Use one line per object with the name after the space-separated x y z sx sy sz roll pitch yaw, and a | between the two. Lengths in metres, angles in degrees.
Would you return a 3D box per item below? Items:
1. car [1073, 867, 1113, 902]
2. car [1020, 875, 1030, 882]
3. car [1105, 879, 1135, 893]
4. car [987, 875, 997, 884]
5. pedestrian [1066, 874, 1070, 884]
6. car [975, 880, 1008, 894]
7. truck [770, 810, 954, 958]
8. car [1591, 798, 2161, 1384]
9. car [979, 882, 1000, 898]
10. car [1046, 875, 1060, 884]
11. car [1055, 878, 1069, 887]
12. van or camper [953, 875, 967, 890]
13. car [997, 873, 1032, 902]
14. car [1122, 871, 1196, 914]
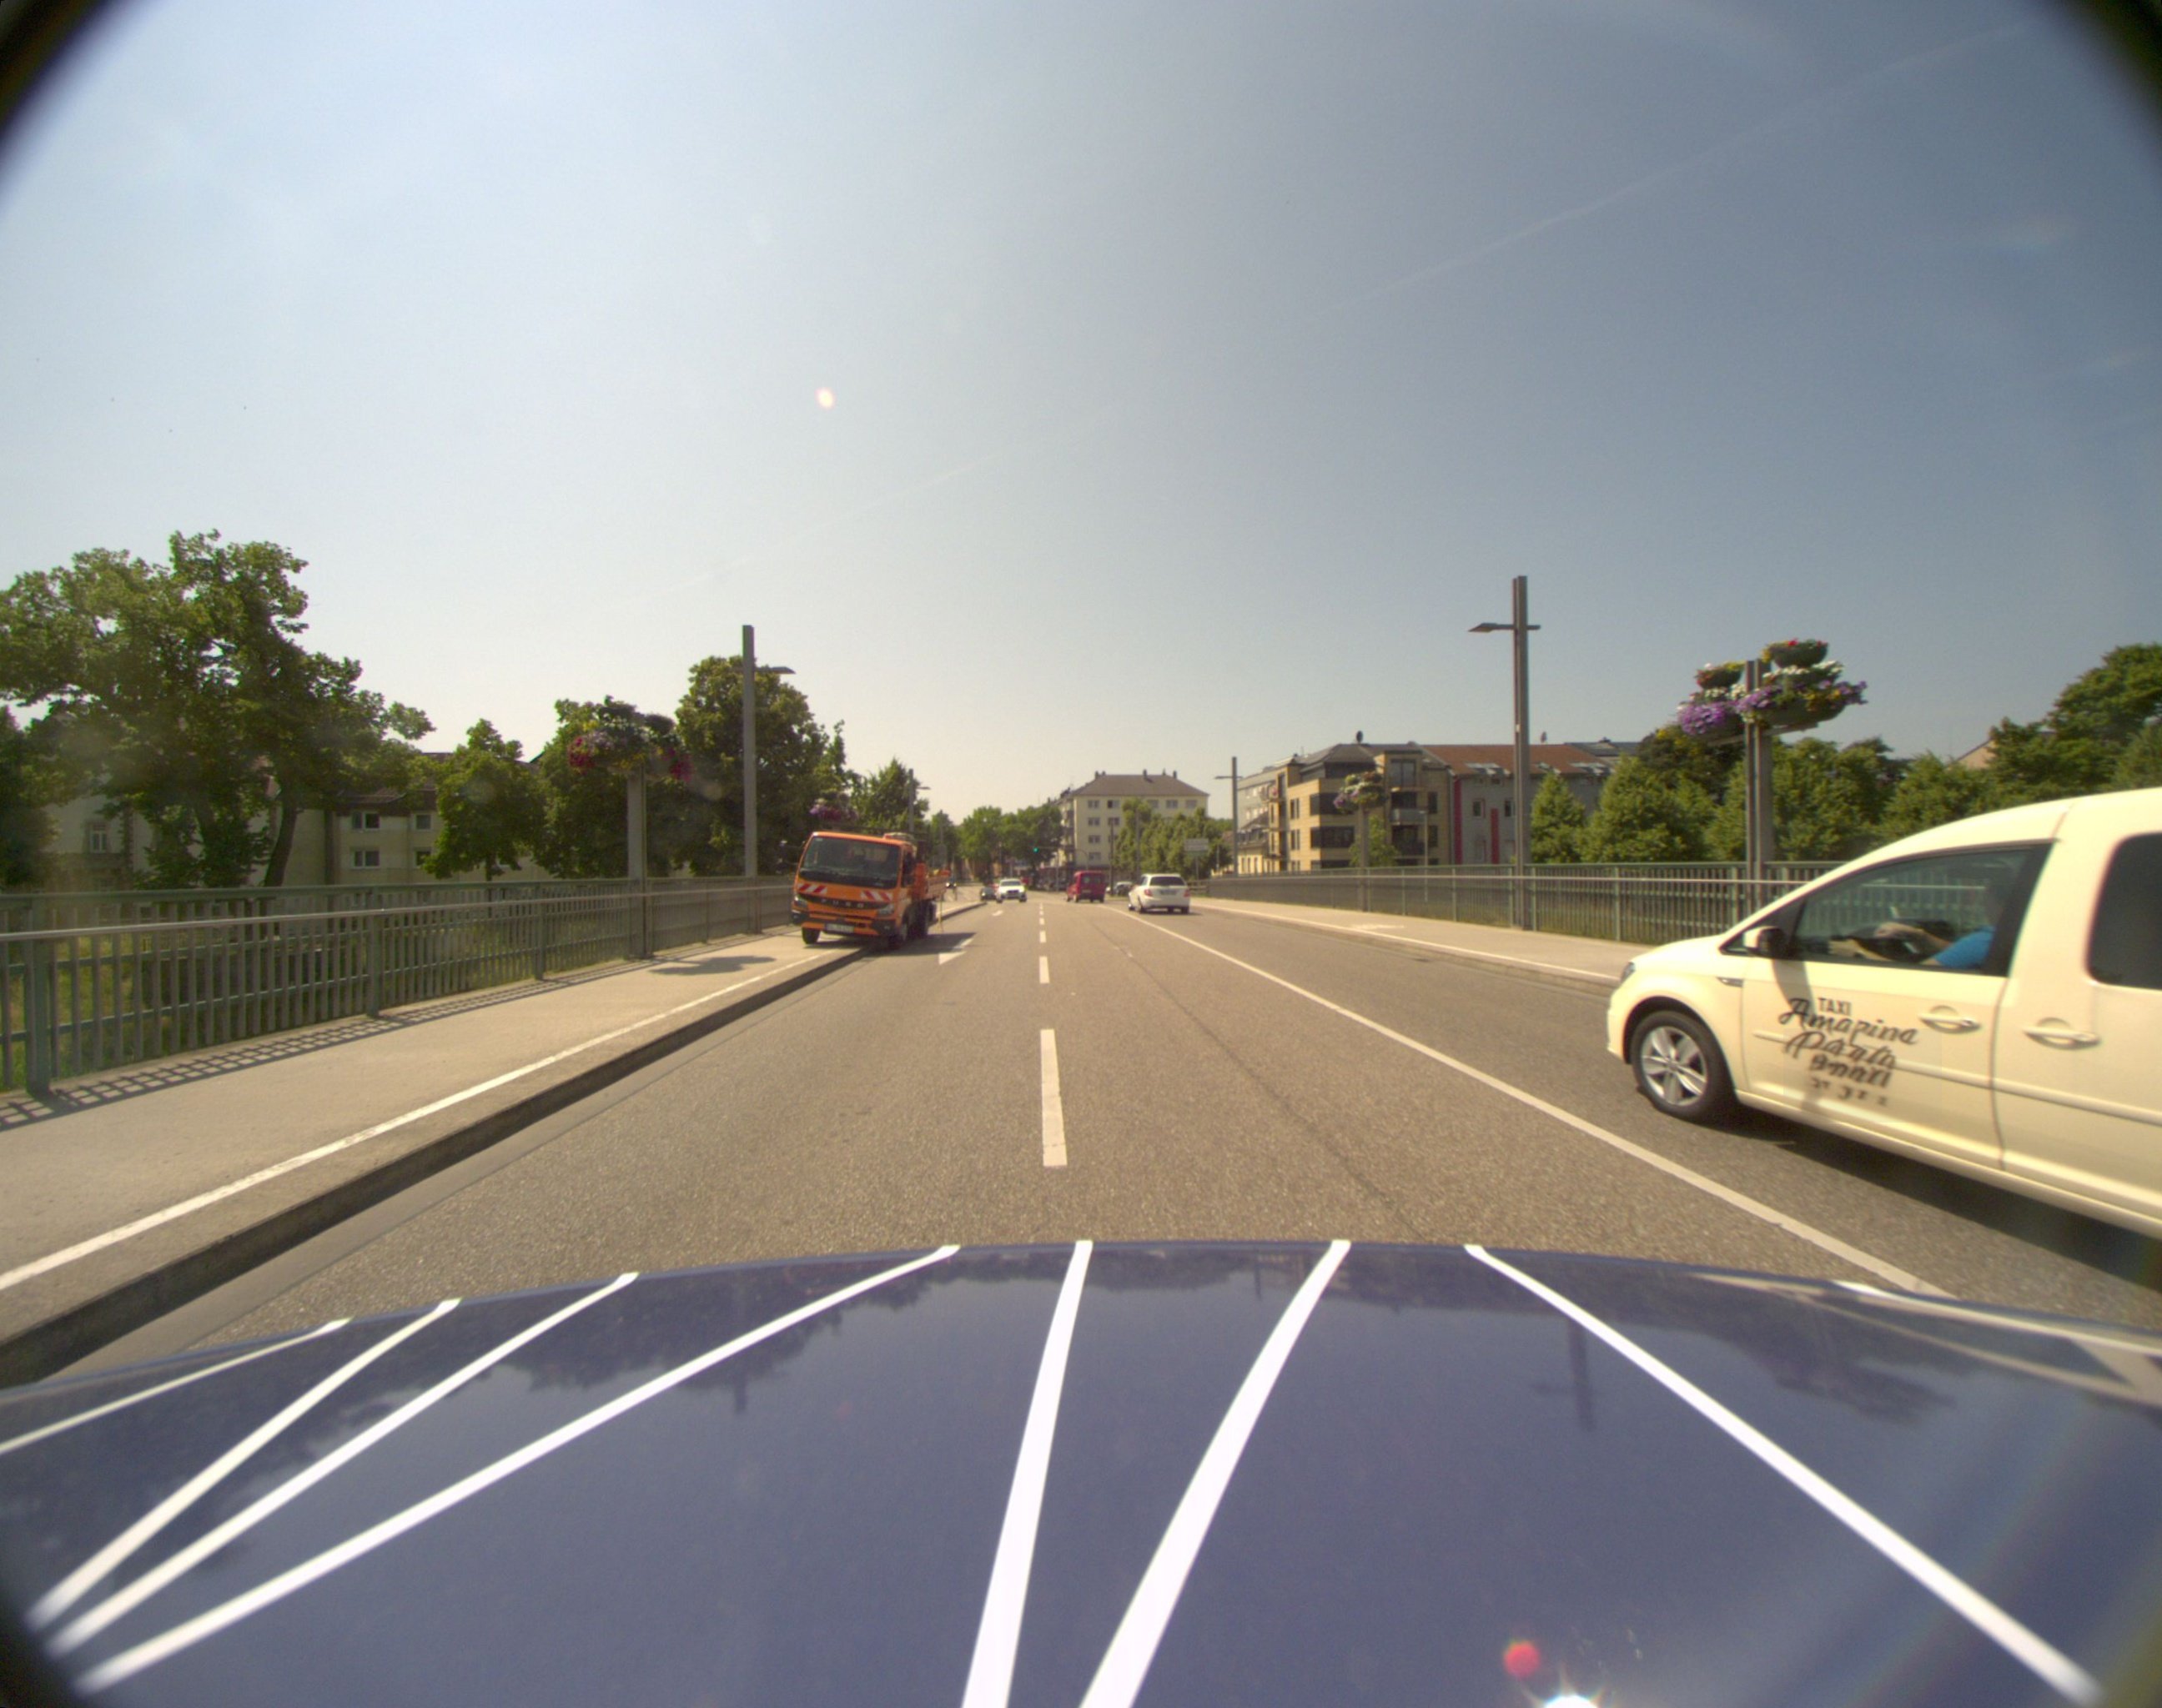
0.608 1.647 42.273 1.741 1.766 4.174 0 0 -6 | car
-11.073 4.838 150.352 1.640 1.459 3.631 -1 0 -11 | car
5.451 4.433 105.710 3.699 1.725 1.892 1 -1 -13 | car
-18.144 5.159 154.249 1.720 1.477 4.027 -3 1 -10 | car
-2.221 4.306 131.005 0.629 1.749 0.742 -1 0 -11 | pedestrian
-11.530 4.256 98.155 3.850 1.456 1.655 2 1 25 | car
-4.512 0.595 16.882 2.613 2.675 5.822 -1 -1 -3 | truck
4.268 0.739 2.557 1.764 1.846 4.645 -1 0 -4 | car
-10.214 3.972 84.592 1.778 1.480 3.995 -2 1 -13 | car
-4.893 4.449 133.379 1.627 1.559 4.835 -1 0 -11 | car
-3.169 4.718 125.620 1.588 1.450 3.936 -1 0 -11 | car
-22.433 5.251 140.792 2.166 2.567 5.839 -2 1 -11 | van or camper
-4.650 2.287 52.386 2.000 1.739 4.442 -2 0 -9 | car
2.799 1.374 28.304 1.850 1.423 4.712 1 -1 -6 | car
